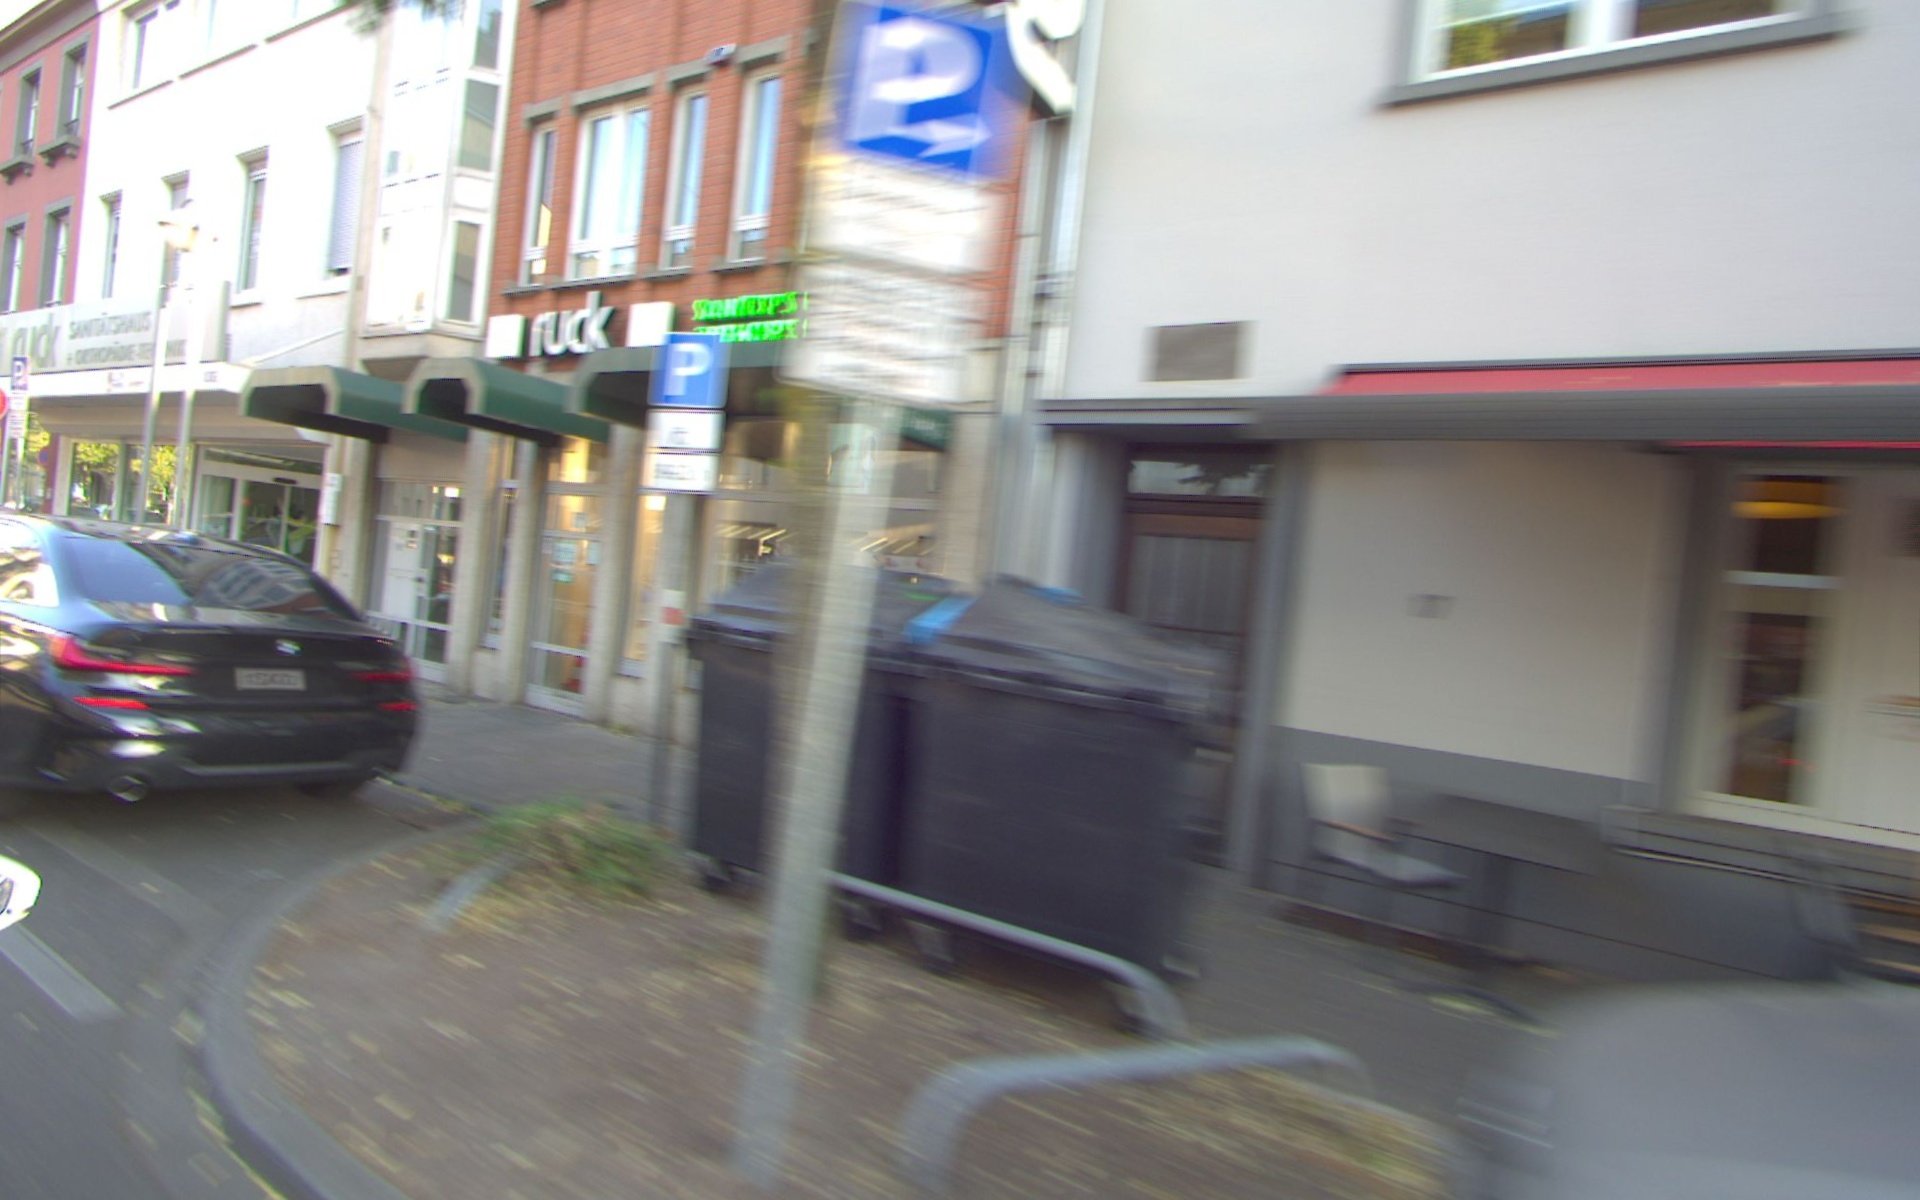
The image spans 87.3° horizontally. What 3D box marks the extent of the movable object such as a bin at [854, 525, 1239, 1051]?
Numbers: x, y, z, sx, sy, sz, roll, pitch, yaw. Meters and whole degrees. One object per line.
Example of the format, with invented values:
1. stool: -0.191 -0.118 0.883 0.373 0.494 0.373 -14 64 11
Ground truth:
1. movable object such as a bin: 0.378 0.675 4.184 1.185 1.795 0.837 6 -1 28

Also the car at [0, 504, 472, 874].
1. car: -5.085 0.238 5.906 4.434 1.437 1.756 7 -1 31

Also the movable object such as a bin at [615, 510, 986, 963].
1. movable object such as a bin: -0.745 0.563 4.786 1.330 1.795 0.837 6 -1 28

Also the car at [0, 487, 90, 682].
1. car: -9.925 -0.355 9.067 4.914 1.545 1.814 5 -2 34

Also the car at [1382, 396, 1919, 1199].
1. car: 2.609 0.929 0.972 3.942 1.799 1.658 7 -1 29
